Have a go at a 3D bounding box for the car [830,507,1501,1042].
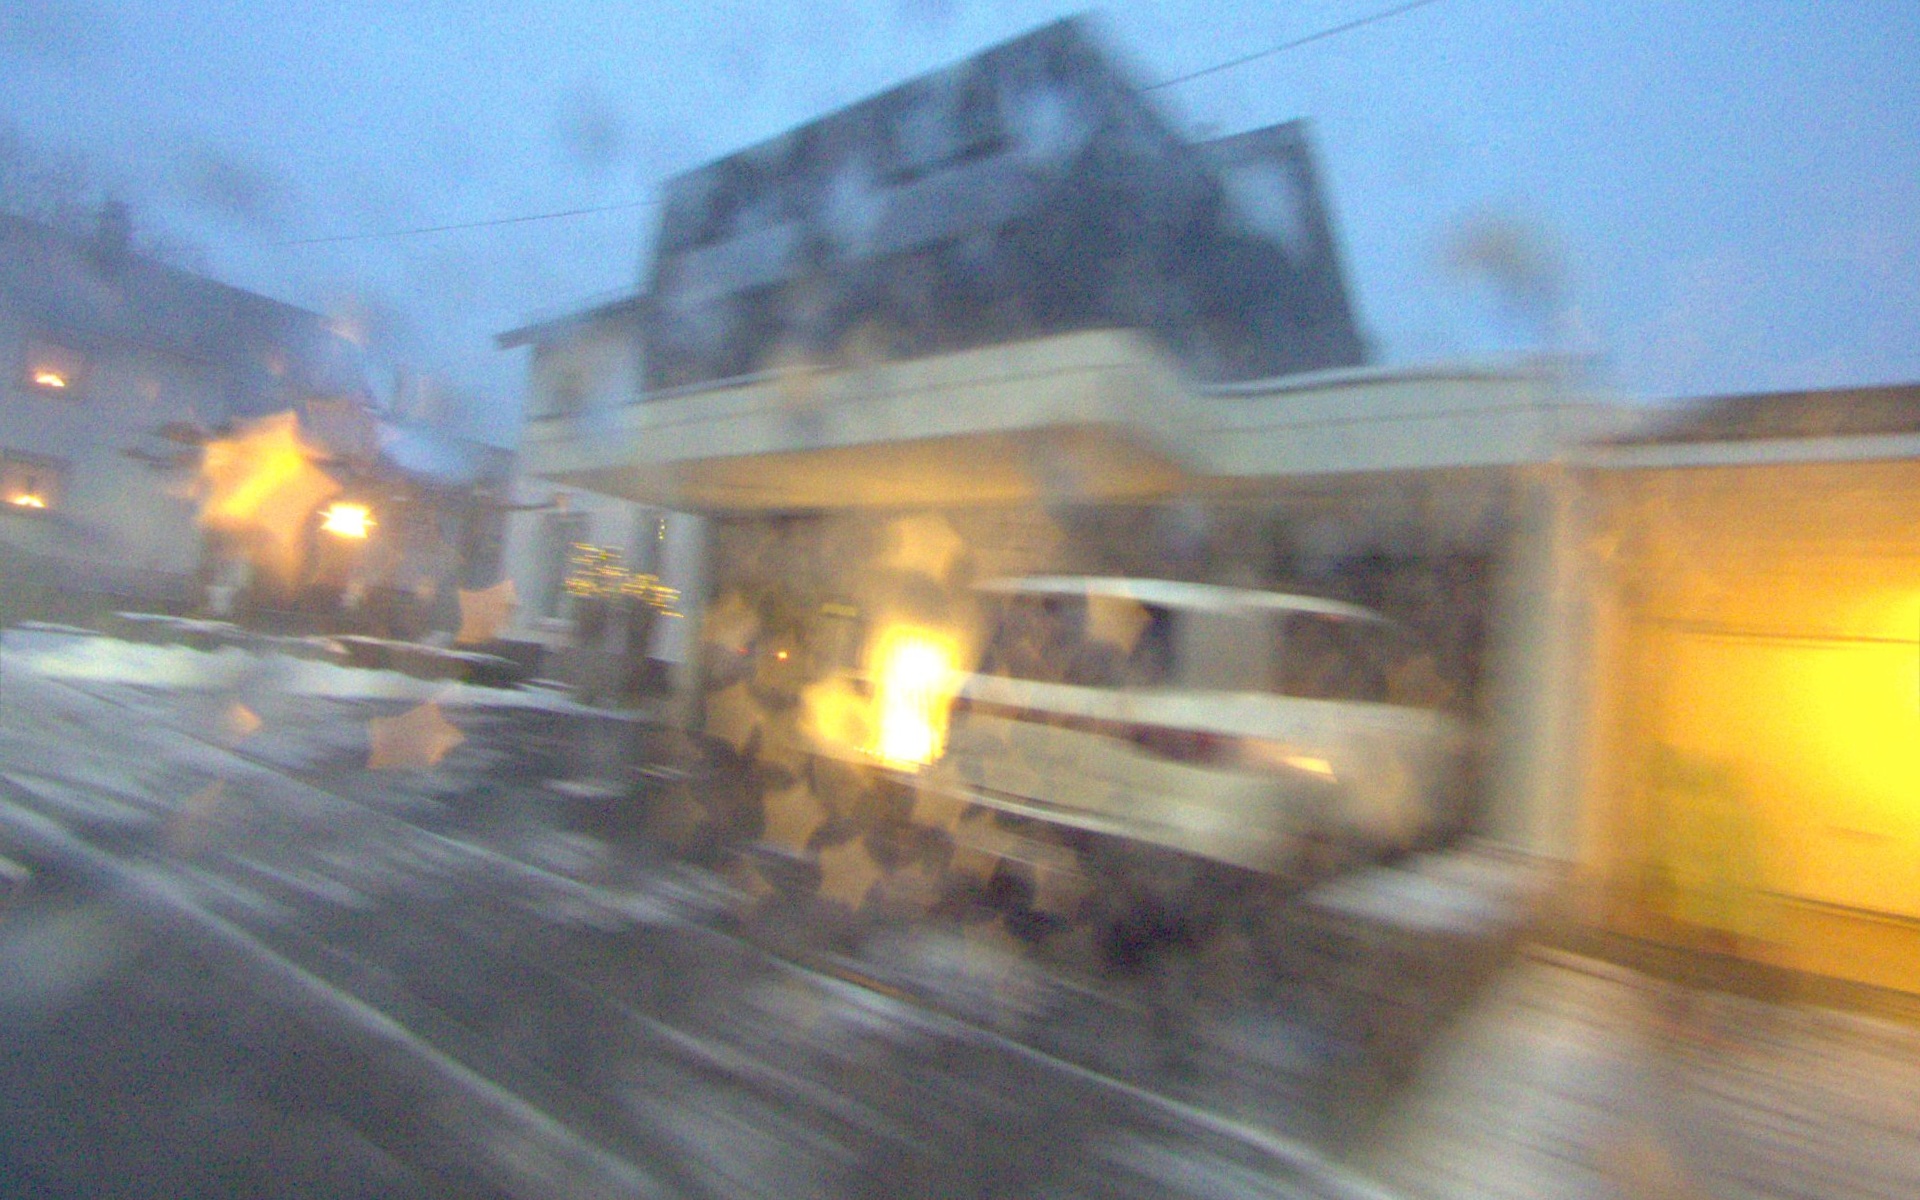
[{"bbox_3d":[1.523,0.794,5.781,1.884,1.879,4.205,5,-3,40],"label":"car"}]
